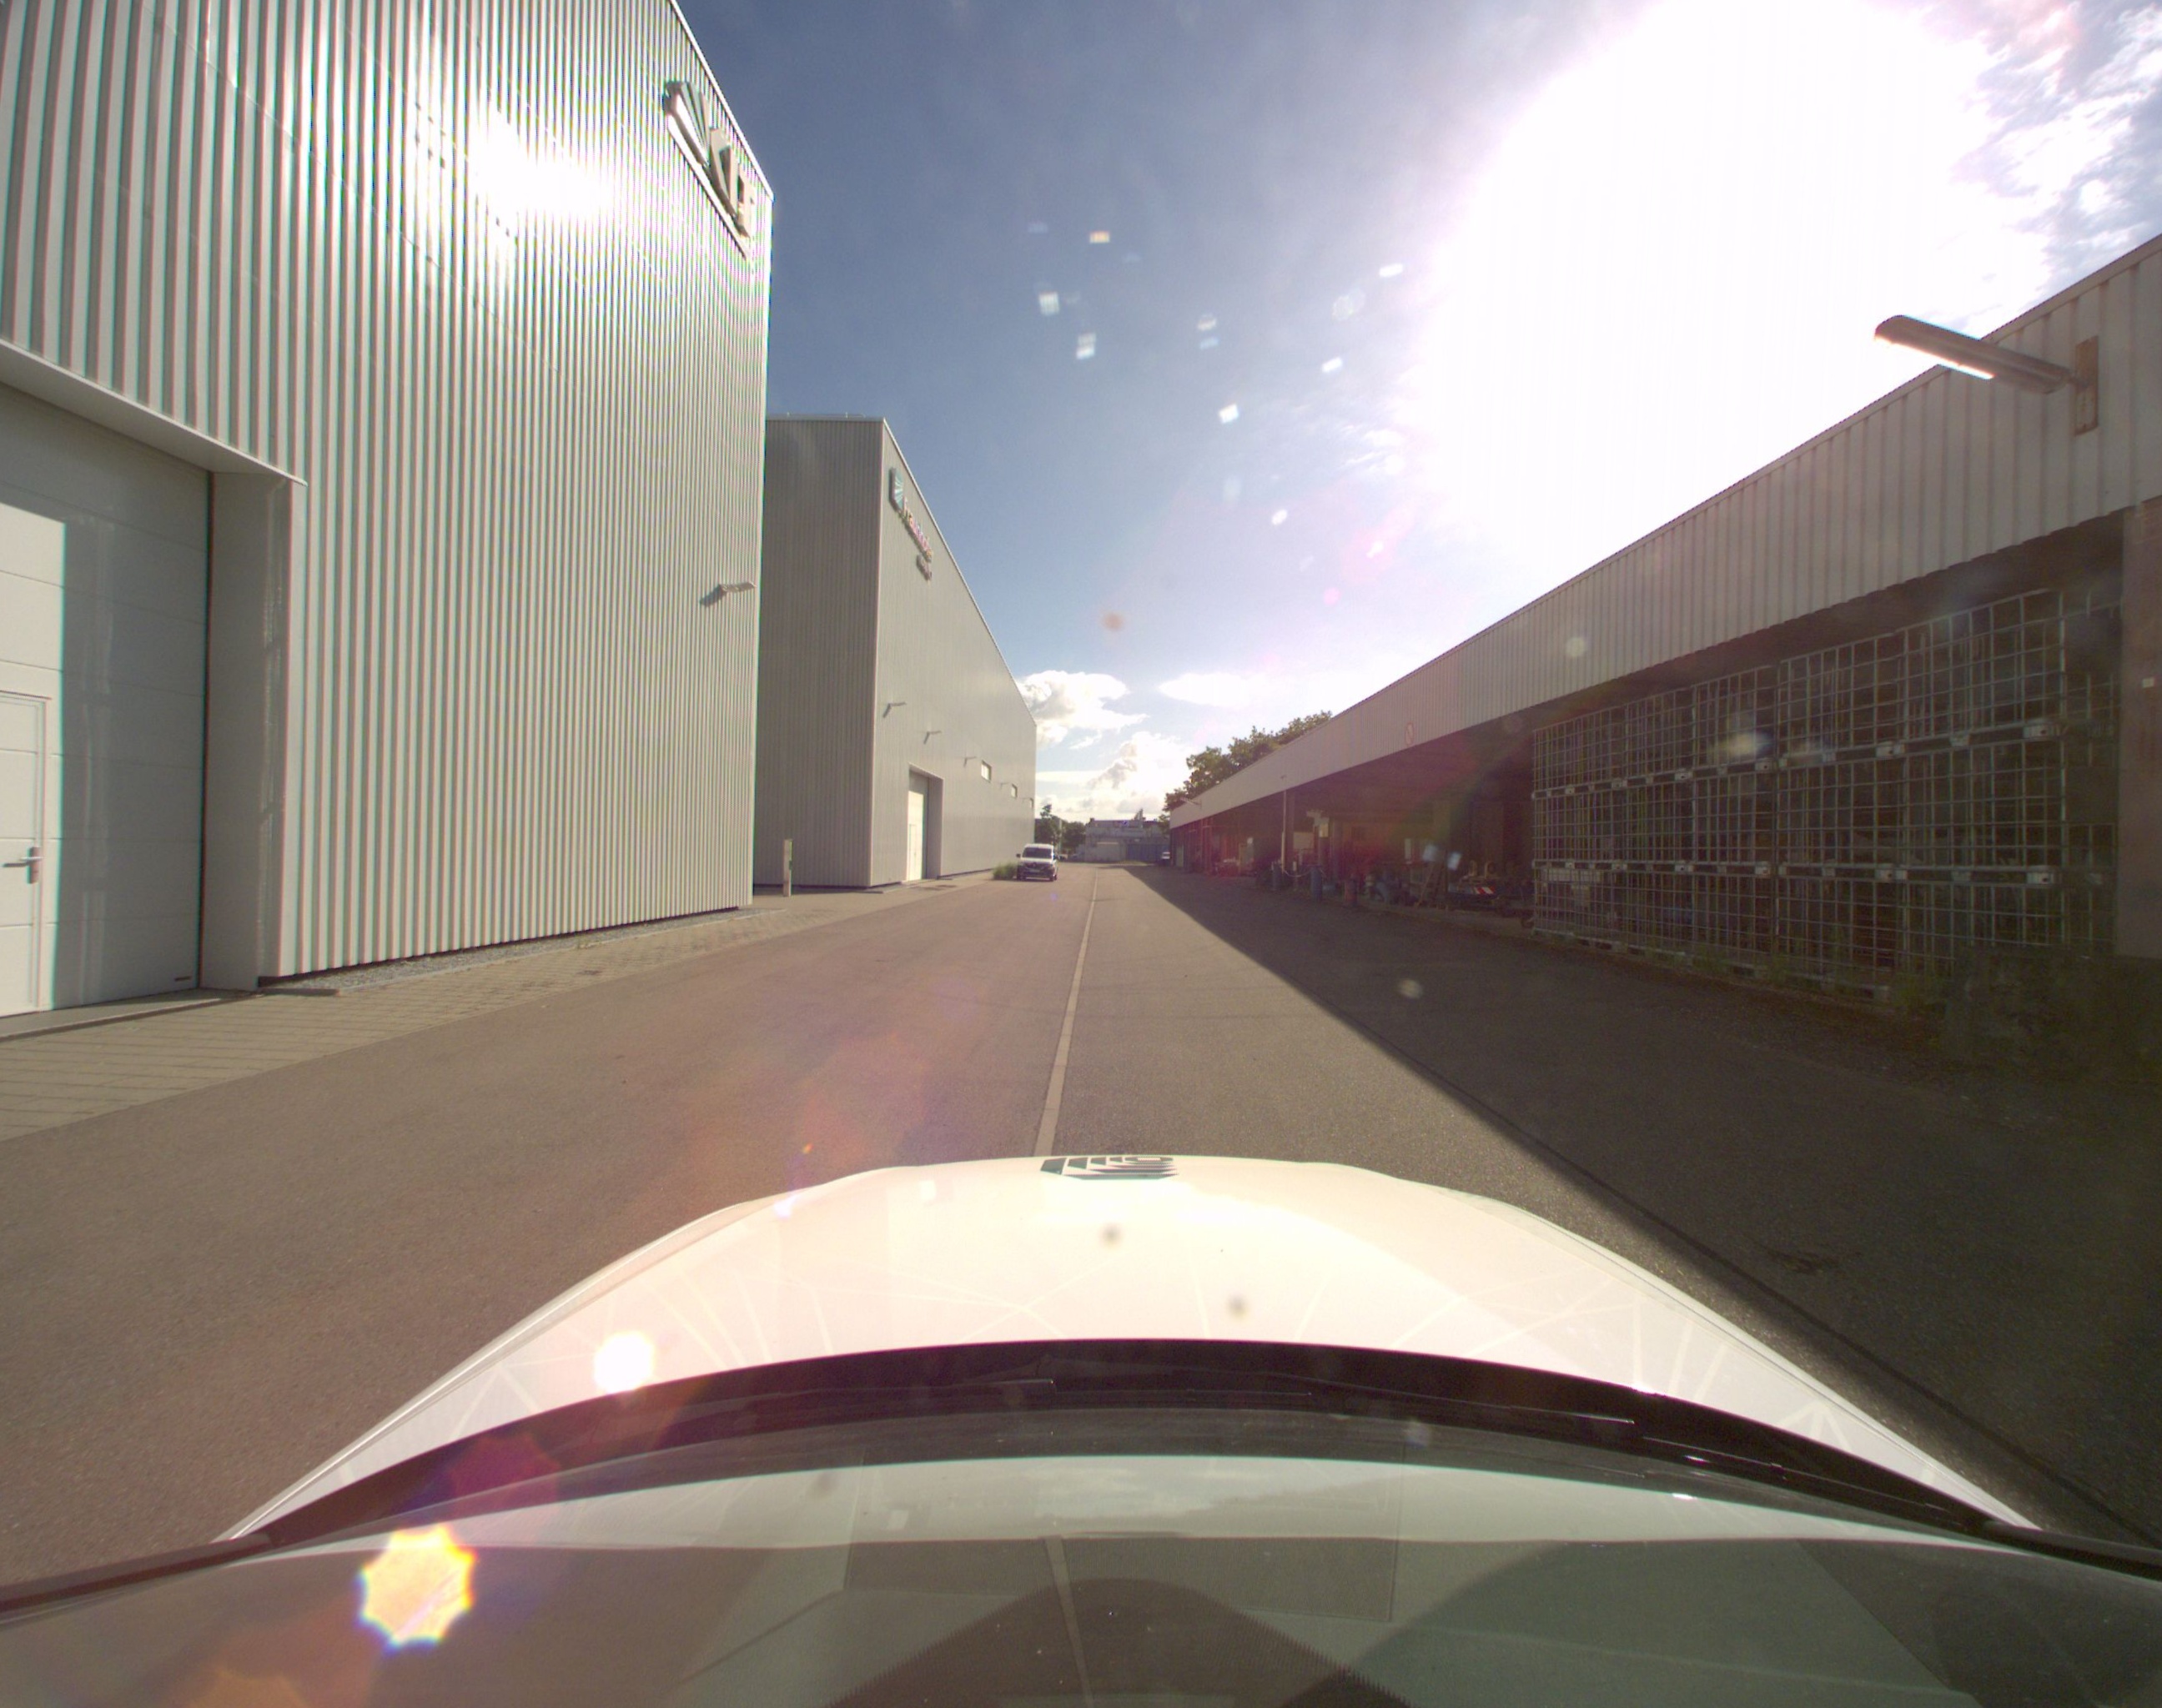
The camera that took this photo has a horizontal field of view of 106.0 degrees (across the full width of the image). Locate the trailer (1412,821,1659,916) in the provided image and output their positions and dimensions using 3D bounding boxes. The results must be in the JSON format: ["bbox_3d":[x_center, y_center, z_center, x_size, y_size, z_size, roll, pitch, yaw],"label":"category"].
[{"bbox_3d":[10.126,0.323,18.472,4.405,1.990,2.164,-1,-1,2],"label":"trailer"}]

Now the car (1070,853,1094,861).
[{"bbox_3d":[0.218,0.501,150.383,4.288,1.457,1.824,0,-1,0],"label":"car"}]

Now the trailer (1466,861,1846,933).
[{"bbox_3d":[10.459,0.747,15.127,5.710,1.185,1.974,-1,0,-1],"label":"trailer"}]

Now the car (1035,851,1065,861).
[{"bbox_3d":[-4.626,0.350,122.534,4.432,1.531,1.824,0,-1,0],"label":"car"}]

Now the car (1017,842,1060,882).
[{"bbox_3d":[-2.052,0.398,40.532,1.777,1.816,4.602,2,0,1],"label":"car"}]

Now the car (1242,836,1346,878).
[{"bbox_3d":[11.846,0.159,45.585,5.314,2.281,2.152,0,-1,0],"label":"car"}]

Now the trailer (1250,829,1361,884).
[{"bbox_3d":[10.082,0.116,36.807,4.499,2.342,2.048,-1,-1,2],"label":"trailer"}]

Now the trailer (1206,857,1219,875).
[{"bbox_3d":[8.276,0.731,51.346,0.550,1.118,1.546,-1,-1,-1],"label":"trailer"}]

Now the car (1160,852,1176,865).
[{"bbox_3d":[11.709,0.577,109.894,1.971,1.602,4.381,0,1,3],"label":"car"}]

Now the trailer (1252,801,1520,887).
[{"bbox_3d":[12.586,-0.399,34.284,10.230,3.343,2.802,-1,0,1],"label":"trailer"}]

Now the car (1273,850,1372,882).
[{"bbox_3d":[11.614,0.572,39.346,4.237,1.471,1.868,0,0,-2],"label":"car"}]

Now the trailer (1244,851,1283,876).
[{"bbox_3d":[10.786,0.551,48.209,2.028,1.466,1.741,-1,0,5],"label":"trailer"}]
